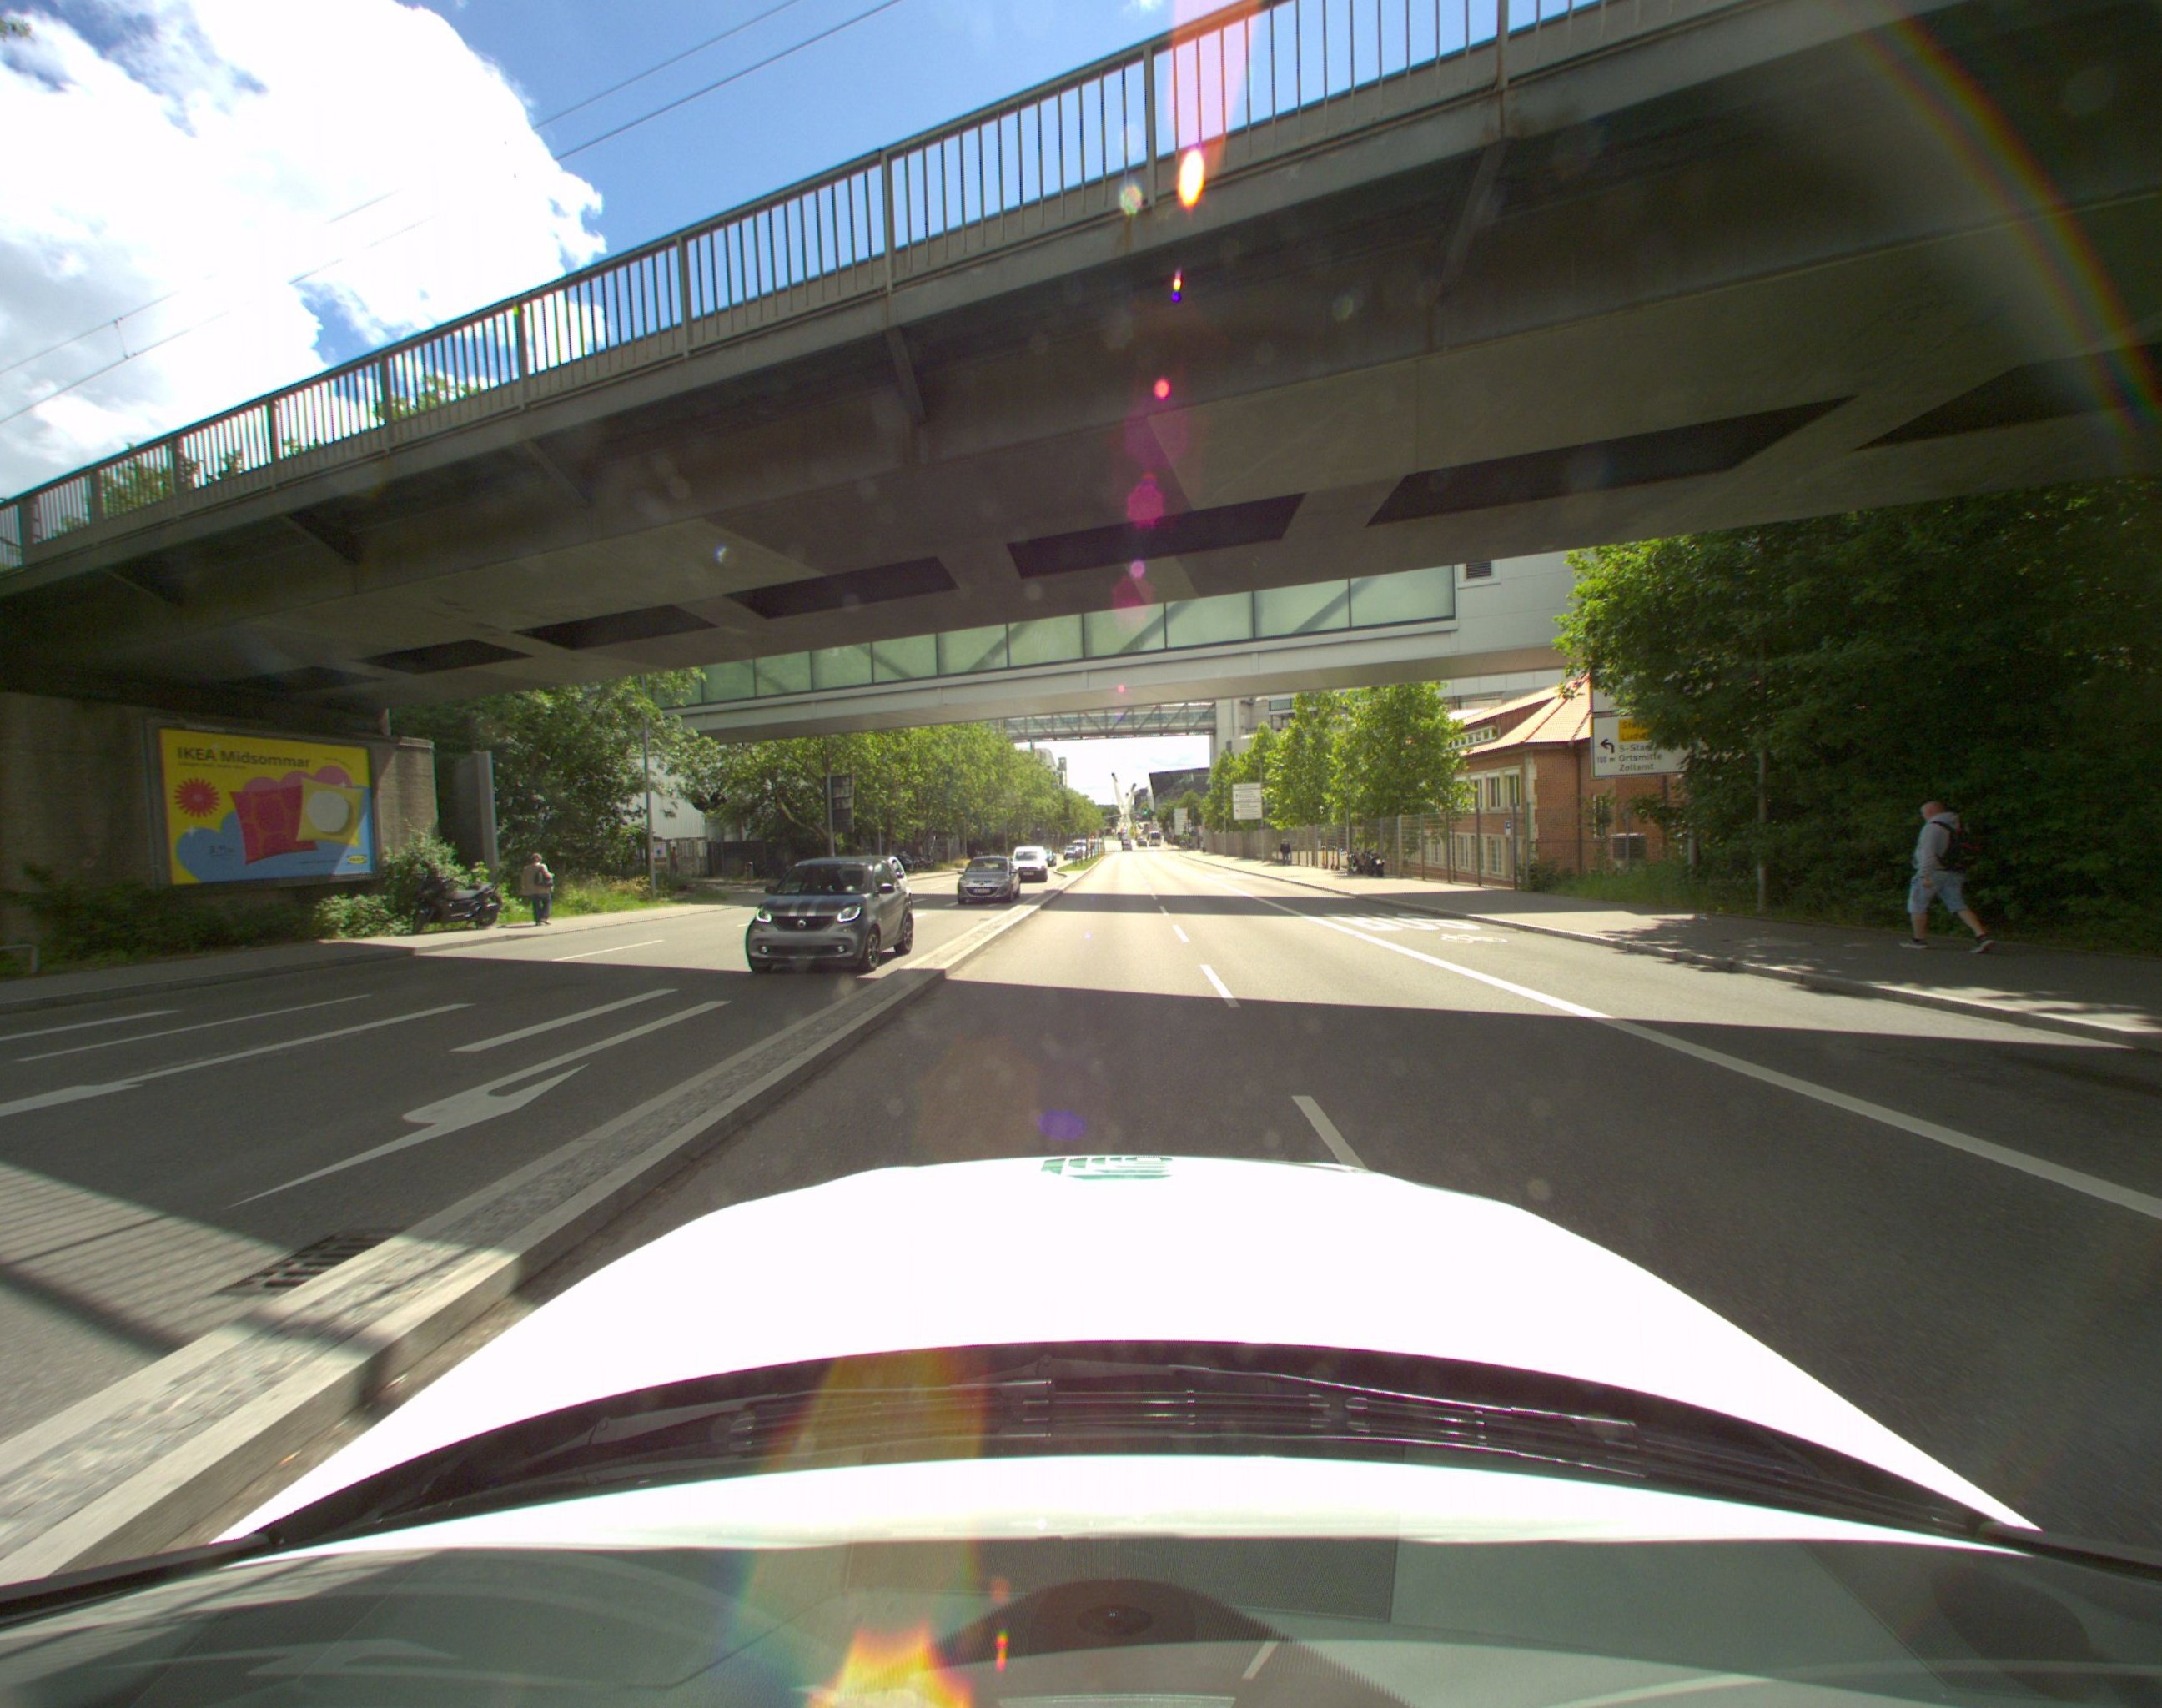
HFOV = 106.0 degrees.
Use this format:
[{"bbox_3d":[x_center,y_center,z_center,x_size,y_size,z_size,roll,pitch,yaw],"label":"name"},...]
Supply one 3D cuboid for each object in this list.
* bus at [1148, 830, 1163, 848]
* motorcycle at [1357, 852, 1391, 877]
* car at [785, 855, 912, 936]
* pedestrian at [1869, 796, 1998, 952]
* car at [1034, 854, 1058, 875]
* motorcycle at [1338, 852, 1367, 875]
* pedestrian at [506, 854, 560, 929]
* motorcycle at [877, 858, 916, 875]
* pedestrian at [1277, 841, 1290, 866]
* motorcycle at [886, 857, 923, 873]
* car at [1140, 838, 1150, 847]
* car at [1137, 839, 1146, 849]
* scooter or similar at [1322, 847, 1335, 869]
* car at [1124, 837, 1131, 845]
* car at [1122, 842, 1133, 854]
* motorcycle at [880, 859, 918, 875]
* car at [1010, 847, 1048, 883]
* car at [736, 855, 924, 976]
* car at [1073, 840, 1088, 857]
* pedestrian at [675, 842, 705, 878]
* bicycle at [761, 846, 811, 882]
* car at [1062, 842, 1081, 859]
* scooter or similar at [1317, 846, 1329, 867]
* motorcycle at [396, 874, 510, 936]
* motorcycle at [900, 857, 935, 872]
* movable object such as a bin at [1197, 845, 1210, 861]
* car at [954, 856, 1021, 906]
[{"bbox_3d":[17.421,-3.626,191.710,2.786,3.751,9.477,-2,4,2],"label":"bus"},{"bbox_3d":[12.724,0.435,35.422,0.561,1.029,2.630,-3,1,2],"label":"motorcycle"},{"bbox_3d":[-5.020,0.821,18.132,1.695,1.551,3.923,-1,0,-1],"label":"car"},{"bbox_3d":[10.710,0.250,10.267,0.620,1.858,0.872,-2,-1,1],"label":"pedestrian"},{"bbox_3d":[-2.933,0.897,69.576,1.694,1.698,3.926,-1,0,2],"label":"car"},{"bbox_3d":[12.880,0.427,38.723,0.561,1.029,2.630,-3,1,2],"label":"motorcycle"},{"bbox_3d":[-12.579,0.856,18.709,0.722,1.622,0.721,3,3,1],"label":"pedestrian"},{"bbox_3d":[-12.834,0.868,56.593,2.558,1.107,0.797,-1,0,14],"label":"motorcycle"},{"bbox_3d":[13.517,-0.051,54.349,0.618,1.618,0.747,-2,4,1],"label":"pedestrian"},{"bbox_3d":[-12.955,0.830,59.710,2.558,1.107,0.797,-1,0,14],"label":"motorcycle"},{"bbox_3d":[14.027,-2.435,179.161,1.986,1.859,4.002,-2,0,2],"label":"car"},{"bbox_3d":[15.105,-2.532,203.015,1.986,2.013,4.003,-2,4,2],"label":"car"},{"bbox_3d":[13.624,0.230,44.868,0.367,1.177,1.134,-1,0,2],"label":"scooter or similar"},{"bbox_3d":[12.883,-3.695,224.960,1.867,2.013,3.696,-2,4,2],"label":"car"},{"bbox_3d":[8.517,-1.150,148.482,1.921,1.771,4.005,-2,4,3],"label":"car"},{"bbox_3d":[-12.962,0.920,57.962,2.558,1.107,0.797,-1,0,14],"label":"motorcycle"},{"bbox_3d":[-2.593,0.532,41.451,1.695,1.698,3.923,-1,0,0],"label":"car"},{"bbox_3d":[-3.546,0.794,12.056,1.694,1.521,3.076,-1,0,2],"label":"car"},{"bbox_3d":[-0.052,-0.741,115.373,1.986,2.255,4.328,-1,0,2],"label":"car"},{"bbox_3d":[-22.491,0.350,46.876,1.003,2.013,1.170,-1,0,10],"label":"pedestrian"},{"bbox_3d":[-18.450,0.596,50.946,2.751,2.013,1.036,-4,4,-22],"label":"bicycle"},{"bbox_3d":[-1.160,-0.430,98.211,1.985,2.013,4.003,-2,0,3],"label":"car"},{"bbox_3d":[13.694,0.119,46.159,0.367,1.177,1.134,-1,0,2],"label":"scooter or similar"},{"bbox_3d":[-12.995,1.036,16.946,0.684,1.210,2.073,0,-2,2],"label":"motorcycle"},{"bbox_3d":[-12.628,0.794,62.817,2.558,1.107,0.797,-1,0,14],"label":"motorcycle"},{"bbox_3d":[16.440,-0.172,109.200,1.655,2.132,1.281,-1,0,7],"label":"movable object such as a bin"},{"bbox_3d":[-2.944,0.819,26.366,1.695,1.436,3.923,-1,0,-1],"label":"car"}]
